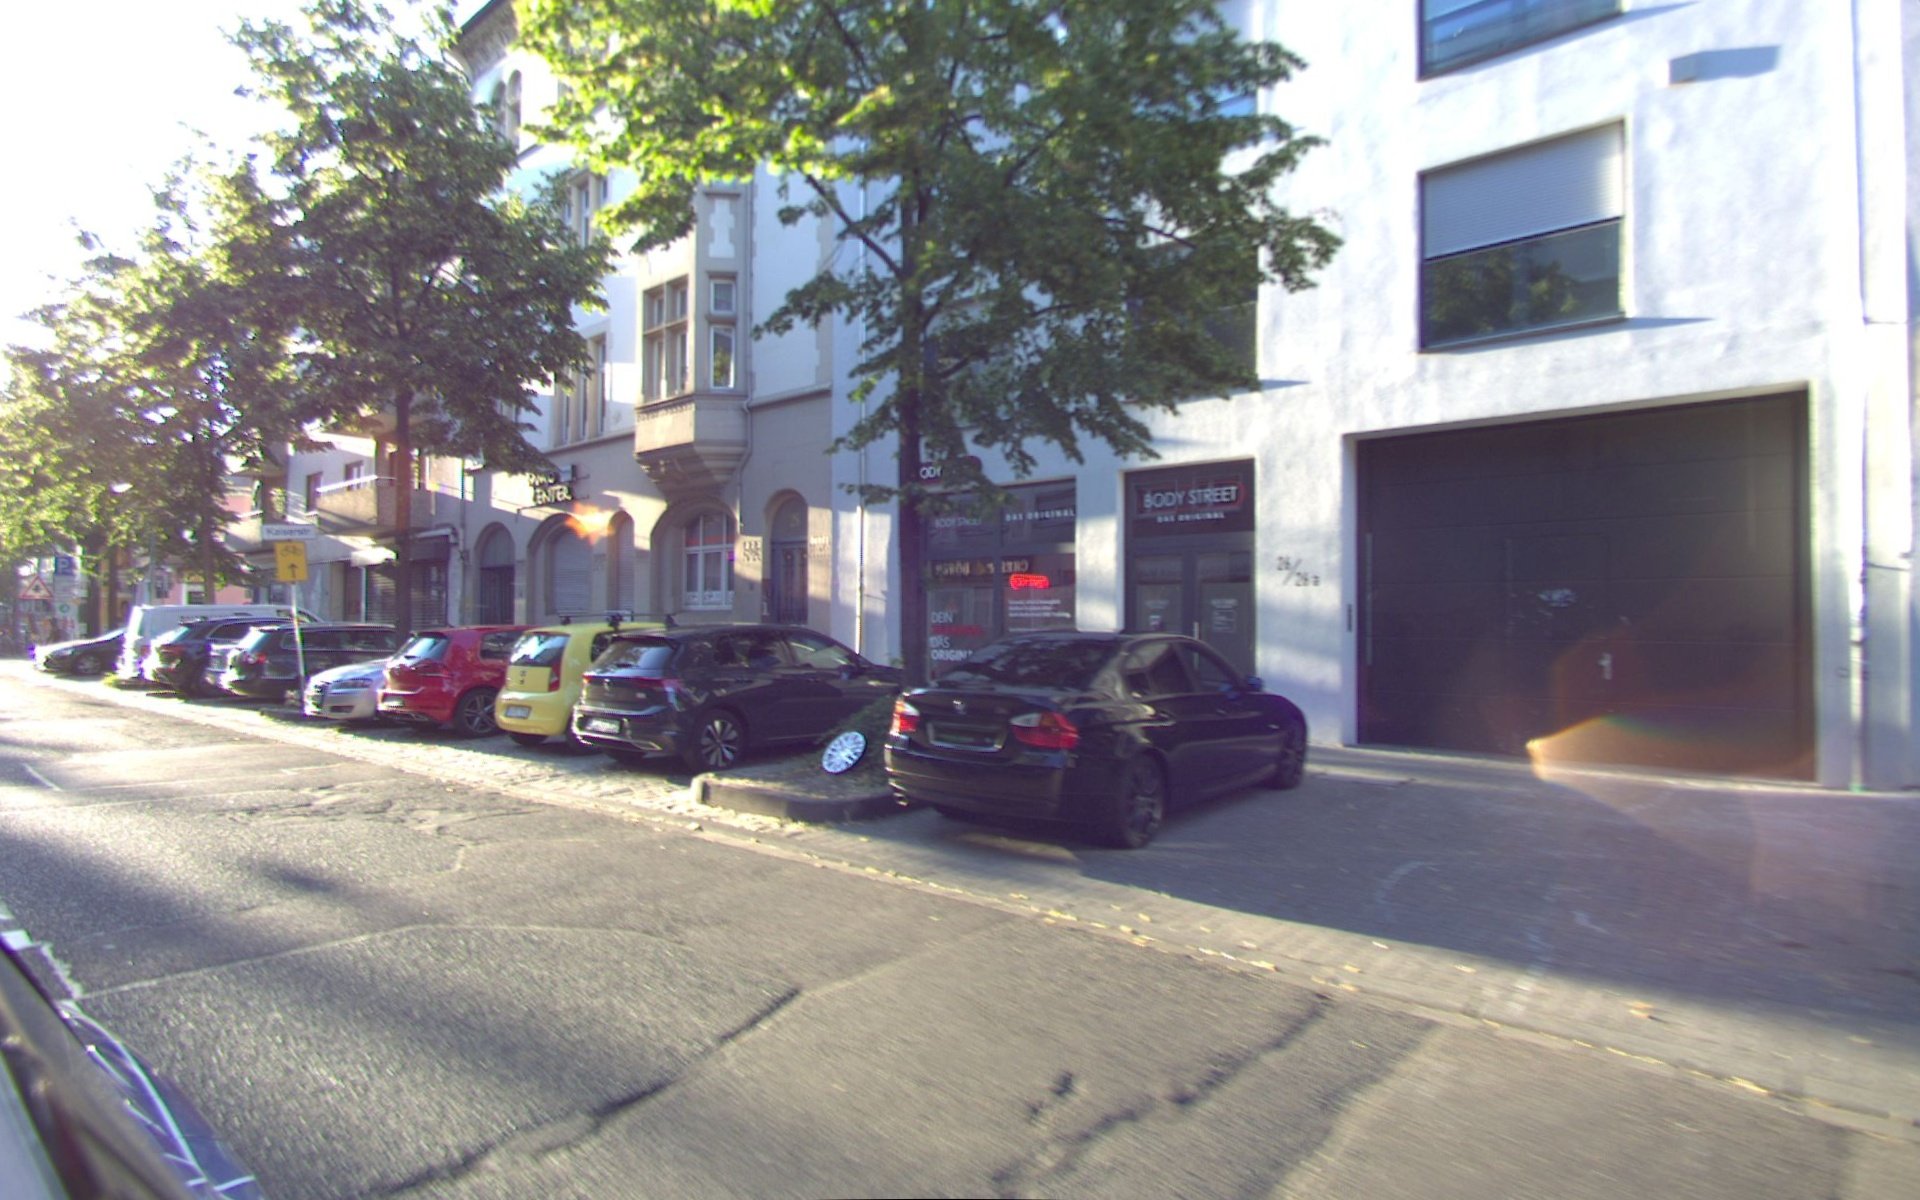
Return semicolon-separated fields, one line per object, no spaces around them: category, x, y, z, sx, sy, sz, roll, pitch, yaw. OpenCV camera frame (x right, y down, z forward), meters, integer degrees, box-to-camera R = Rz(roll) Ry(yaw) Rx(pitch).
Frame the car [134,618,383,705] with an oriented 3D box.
car;-15.012;1.233;21.827;1.732;1.681;4.138;0;-1;42

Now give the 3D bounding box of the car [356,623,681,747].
car;-6.035;1.064;14.197;1.742;1.468;3.829;-1;-2;38

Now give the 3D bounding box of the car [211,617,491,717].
car;-11.118;1.134;18.673;1.745;1.548;4.136;0;0;44

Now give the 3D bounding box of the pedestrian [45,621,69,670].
pedestrian;-30.777;1.545;34.499;0.721;1.660;0.543;-2;-2;43

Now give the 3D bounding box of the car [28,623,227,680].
car;-24.933;1.479;30.454;1.813;1.536;4.383;-1;-1;39

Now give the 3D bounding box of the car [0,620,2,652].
car;-56.719;2.052;56.624;1.813;1.857;4.383;-1;-1;39

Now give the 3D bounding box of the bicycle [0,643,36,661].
bicycle;-43.283;2.367;46.038;1.770;0.771;0.408;1;-2;-37

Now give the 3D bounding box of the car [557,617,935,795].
car;-2.162;0.978;11.065;1.742;1.579;3.829;-1;-2;38

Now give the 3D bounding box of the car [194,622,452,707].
car;-12.840;1.227;20.600;1.731;1.453;4.140;0;0;40

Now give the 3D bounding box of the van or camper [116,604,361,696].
van or camper;-16.893;1.118;23.870;1.789;1.971;4.411;-2;-2;42

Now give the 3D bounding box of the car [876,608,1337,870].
car;1.409;0.836;8.007;1.742;1.495;4.233;-1;-2;38

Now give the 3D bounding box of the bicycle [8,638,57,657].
bicycle;-44.549;2.256;48.633;0.441;0.870;1.790;-1;-1;16

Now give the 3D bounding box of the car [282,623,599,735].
car;-7.847;1.107;15.603;1.741;1.397;4.003;-2;-1;37

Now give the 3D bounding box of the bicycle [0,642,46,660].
bicycle;-43.740;2.368;47.054;1.770;0.771;0.408;1;-2;-37

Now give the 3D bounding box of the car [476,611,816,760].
car;-3.819;0.951;12.824;1.742;1.579;3.829;-1;-2;38
